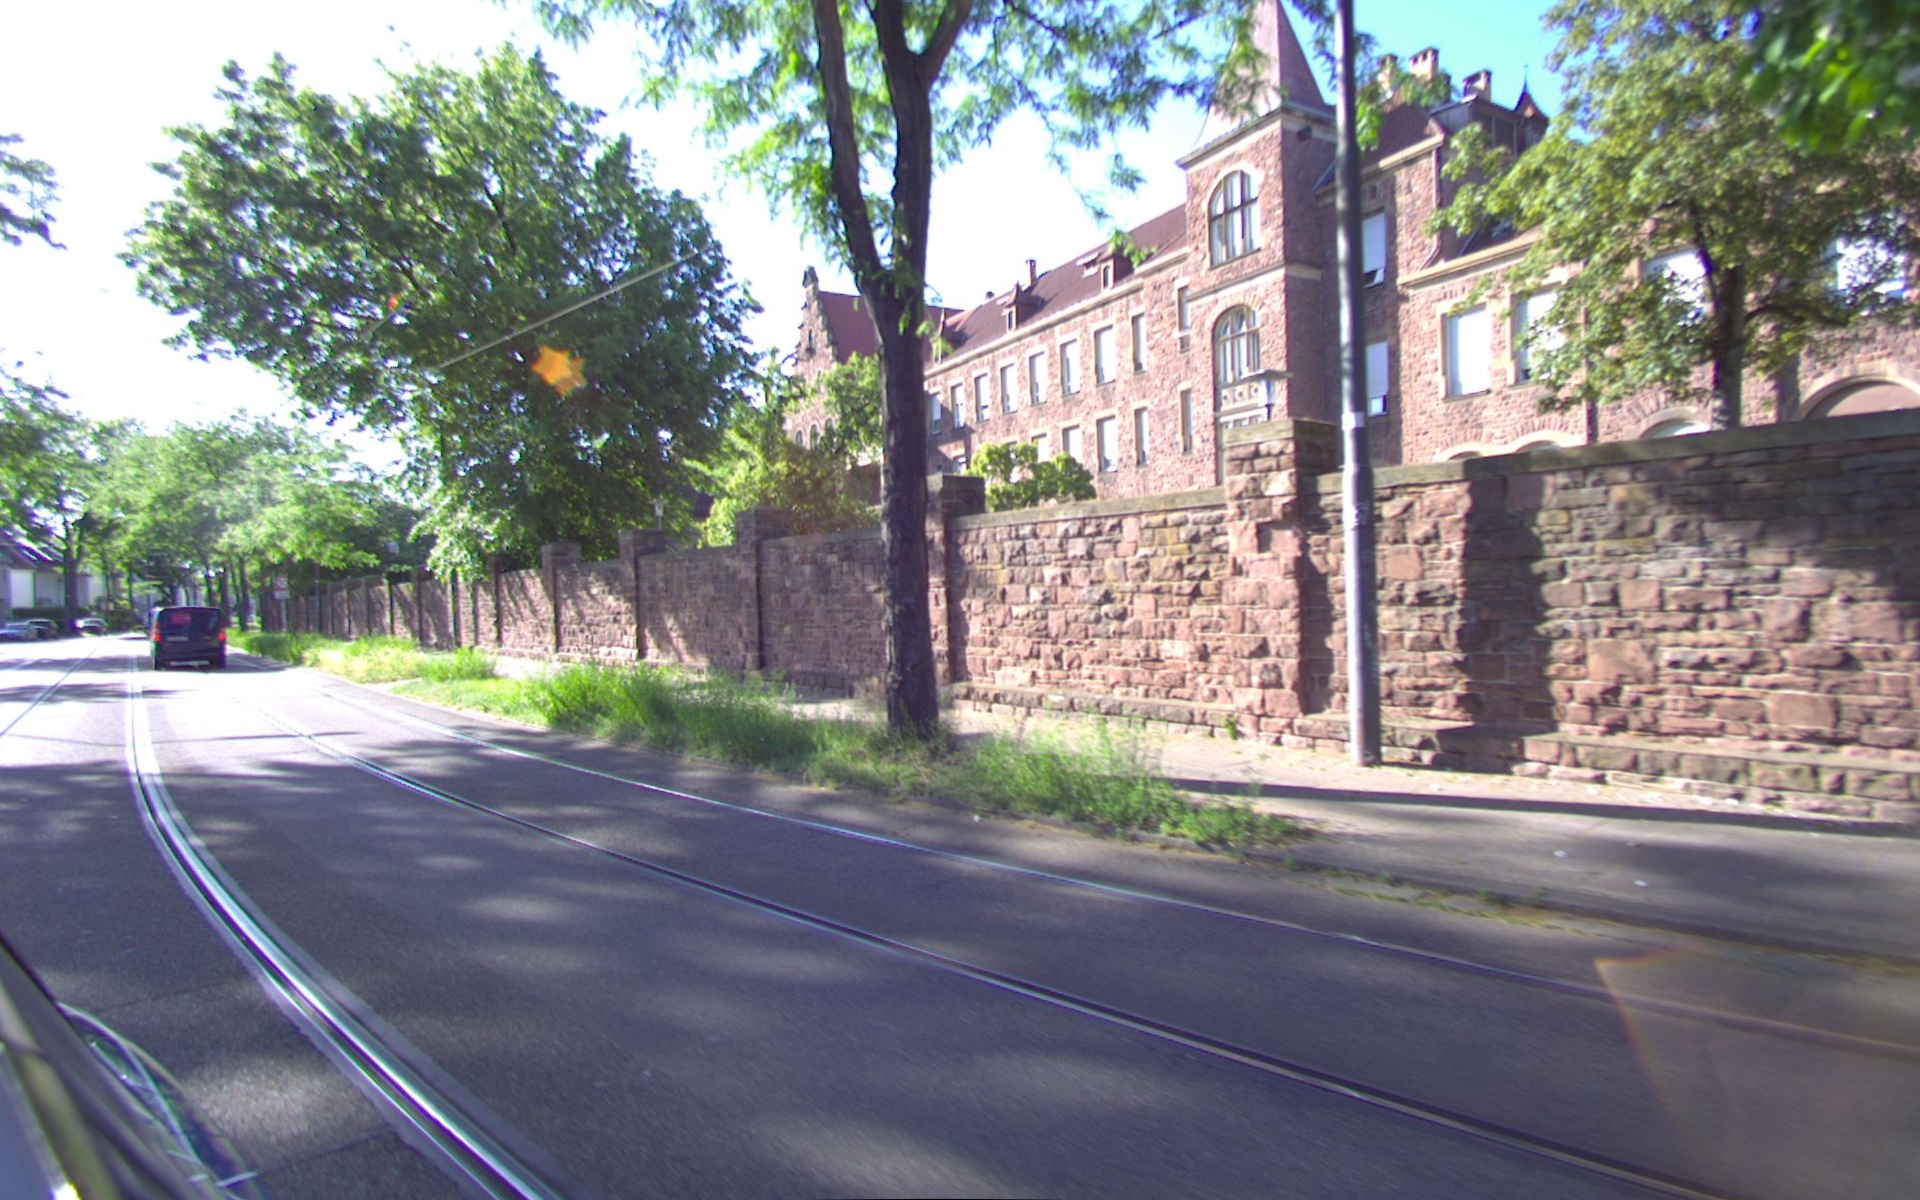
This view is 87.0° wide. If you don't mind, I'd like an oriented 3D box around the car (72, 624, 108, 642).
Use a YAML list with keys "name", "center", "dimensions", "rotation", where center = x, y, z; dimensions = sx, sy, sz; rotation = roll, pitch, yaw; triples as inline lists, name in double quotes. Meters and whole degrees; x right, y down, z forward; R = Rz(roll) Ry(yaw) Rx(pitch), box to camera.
- name: "car"
  center: [-81.400, 3.079, 94.746]
  dimensions: [1.850, 1.529, 4.662]
  rotation: [-2, 1, -32]

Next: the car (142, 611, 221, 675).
- name: "car"
  center: [-23.921, 1.275, 31.039]
  dimensions: [1.613, 1.806, 4.343]
  rotation: [0, -1, -42]

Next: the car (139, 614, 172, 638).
- name: "car"
  center: [-97.510, 3.120, 122.719]
  dimensions: [2.259, 2.609, 5.736]
  rotation: [-2, 1, -30]

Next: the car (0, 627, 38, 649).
- name: "car"
  center: [-69.766, 2.799, 74.585]
  dimensions: [1.714, 1.507, 4.543]
  rotation: [-2, 1, -30]
